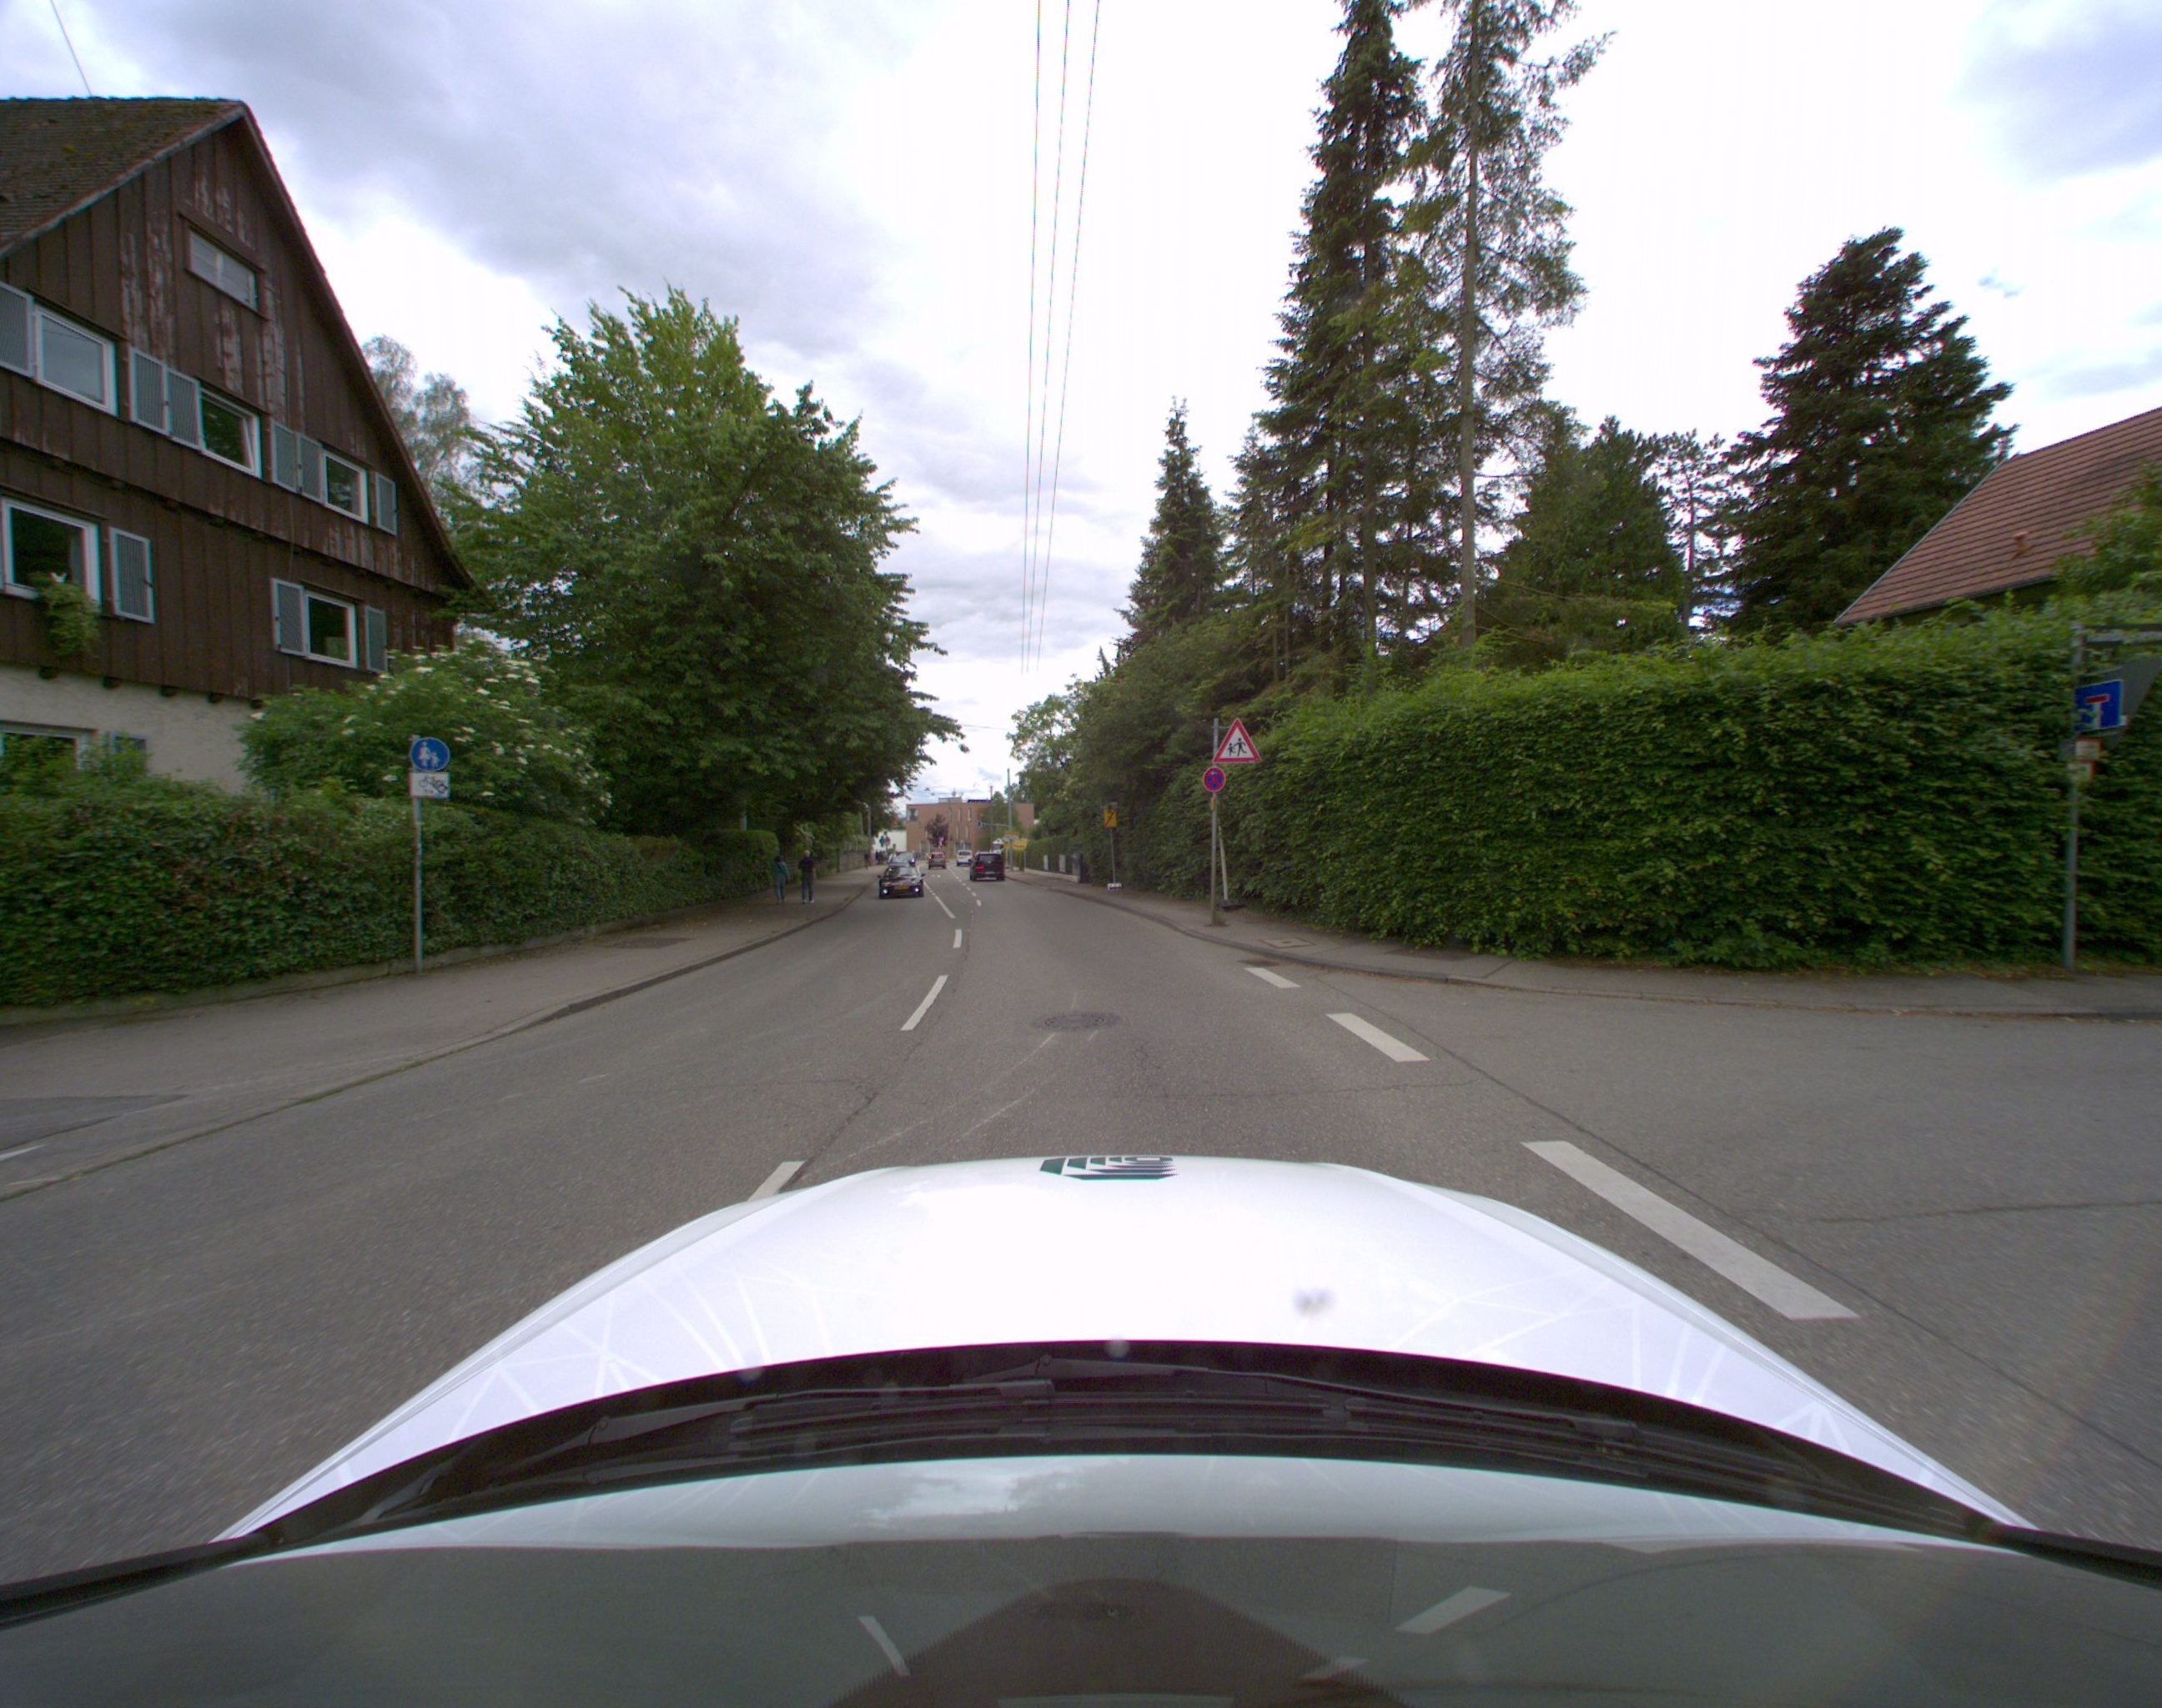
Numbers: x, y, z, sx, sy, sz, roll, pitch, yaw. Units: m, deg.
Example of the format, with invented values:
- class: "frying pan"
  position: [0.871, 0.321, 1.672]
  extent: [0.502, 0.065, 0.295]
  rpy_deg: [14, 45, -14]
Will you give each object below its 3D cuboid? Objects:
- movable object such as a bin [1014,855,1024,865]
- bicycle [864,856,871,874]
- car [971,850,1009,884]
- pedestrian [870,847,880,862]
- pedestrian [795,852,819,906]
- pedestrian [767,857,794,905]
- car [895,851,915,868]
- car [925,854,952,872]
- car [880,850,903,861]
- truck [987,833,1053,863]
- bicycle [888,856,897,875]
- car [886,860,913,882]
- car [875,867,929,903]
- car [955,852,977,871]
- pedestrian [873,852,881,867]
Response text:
- class: "movable object such as a bin"
  position: [-6.438, 0.639, 84.802]
  extent: [0.673, 1.073, 0.720]
  rpy_deg: [0, -1, 42]
- class: "bicycle"
  position: [-20.302, 1.063, 77.473]
  extent: [0.562, 1.676, 1.973]
  rpy_deg: [0, 0, -11]
- class: "car"
  position: [-5.468, 0.760, 48.614]
  extent: [1.993, 1.882, 3.987]
  rpy_deg: [-1, 0, -9]
- class: "pedestrian"
  position: [-24.930, 0.022, 98.551]
  extent: [0.821, 1.763, 0.858]
  rpy_deg: [-1, 0, -33]
- class: "pedestrian"
  position: [-8.714, 0.790, 25.927]
  extent: [0.631, 1.662, 0.912]
  rpy_deg: [-1, -1, -24]
- class: "pedestrian"
  position: [-9.420, 0.851, 25.528]
  extent: [0.672, 1.449, 0.751]
  rpy_deg: [4, -2, -24]
- class: "car"
  position: [-18.880, 0.568, 87.224]
  extent: [1.835, 1.630, 4.260]
  rpy_deg: [-2, 1, -15]
- class: "car"
  position: [-13.789, 0.830, 79.071]
  extent: [1.886, 1.706, 4.001]
  rpy_deg: [0, 0, 1]
- class: "car"
  position: [-37.517, 0.334, 161.489]
  extent: [4.019, 2.013, 1.977]
  rpy_deg: [-2, 1, -38]
- class: "truck"
  position: [-10.141, -1.050, 137.240]
  extent: [11.860, 4.734, 3.097]
  rpy_deg: [-1, 1, -43]
- class: "bicycle"
  position: [-17.948, 1.090, 77.654]
  extent: [0.759, 1.744, 1.864]
  rpy_deg: [-2, 1, -11]
- class: "car"
  position: [-13.570, 1.270, 60.797]
  extent: [1.724, 1.471, 3.511]
  rpy_deg: [-3, 1, -16]
- class: "car"
  position: [-6.912, 1.149, 31.773]
  extent: [1.690, 1.177, 3.777]
  rpy_deg: [-2, 0, -8]
- class: "car"
  position: [-13.497, 0.806, 95.931]
  extent: [1.955, 2.013, 4.428]
  rpy_deg: [2, 1, 0]
- class: "pedestrian"
  position: [-24.717, 0.653, 98.670]
  extent: [0.756, 1.837, 0.607]
  rpy_deg: [-1, 0, -39]
